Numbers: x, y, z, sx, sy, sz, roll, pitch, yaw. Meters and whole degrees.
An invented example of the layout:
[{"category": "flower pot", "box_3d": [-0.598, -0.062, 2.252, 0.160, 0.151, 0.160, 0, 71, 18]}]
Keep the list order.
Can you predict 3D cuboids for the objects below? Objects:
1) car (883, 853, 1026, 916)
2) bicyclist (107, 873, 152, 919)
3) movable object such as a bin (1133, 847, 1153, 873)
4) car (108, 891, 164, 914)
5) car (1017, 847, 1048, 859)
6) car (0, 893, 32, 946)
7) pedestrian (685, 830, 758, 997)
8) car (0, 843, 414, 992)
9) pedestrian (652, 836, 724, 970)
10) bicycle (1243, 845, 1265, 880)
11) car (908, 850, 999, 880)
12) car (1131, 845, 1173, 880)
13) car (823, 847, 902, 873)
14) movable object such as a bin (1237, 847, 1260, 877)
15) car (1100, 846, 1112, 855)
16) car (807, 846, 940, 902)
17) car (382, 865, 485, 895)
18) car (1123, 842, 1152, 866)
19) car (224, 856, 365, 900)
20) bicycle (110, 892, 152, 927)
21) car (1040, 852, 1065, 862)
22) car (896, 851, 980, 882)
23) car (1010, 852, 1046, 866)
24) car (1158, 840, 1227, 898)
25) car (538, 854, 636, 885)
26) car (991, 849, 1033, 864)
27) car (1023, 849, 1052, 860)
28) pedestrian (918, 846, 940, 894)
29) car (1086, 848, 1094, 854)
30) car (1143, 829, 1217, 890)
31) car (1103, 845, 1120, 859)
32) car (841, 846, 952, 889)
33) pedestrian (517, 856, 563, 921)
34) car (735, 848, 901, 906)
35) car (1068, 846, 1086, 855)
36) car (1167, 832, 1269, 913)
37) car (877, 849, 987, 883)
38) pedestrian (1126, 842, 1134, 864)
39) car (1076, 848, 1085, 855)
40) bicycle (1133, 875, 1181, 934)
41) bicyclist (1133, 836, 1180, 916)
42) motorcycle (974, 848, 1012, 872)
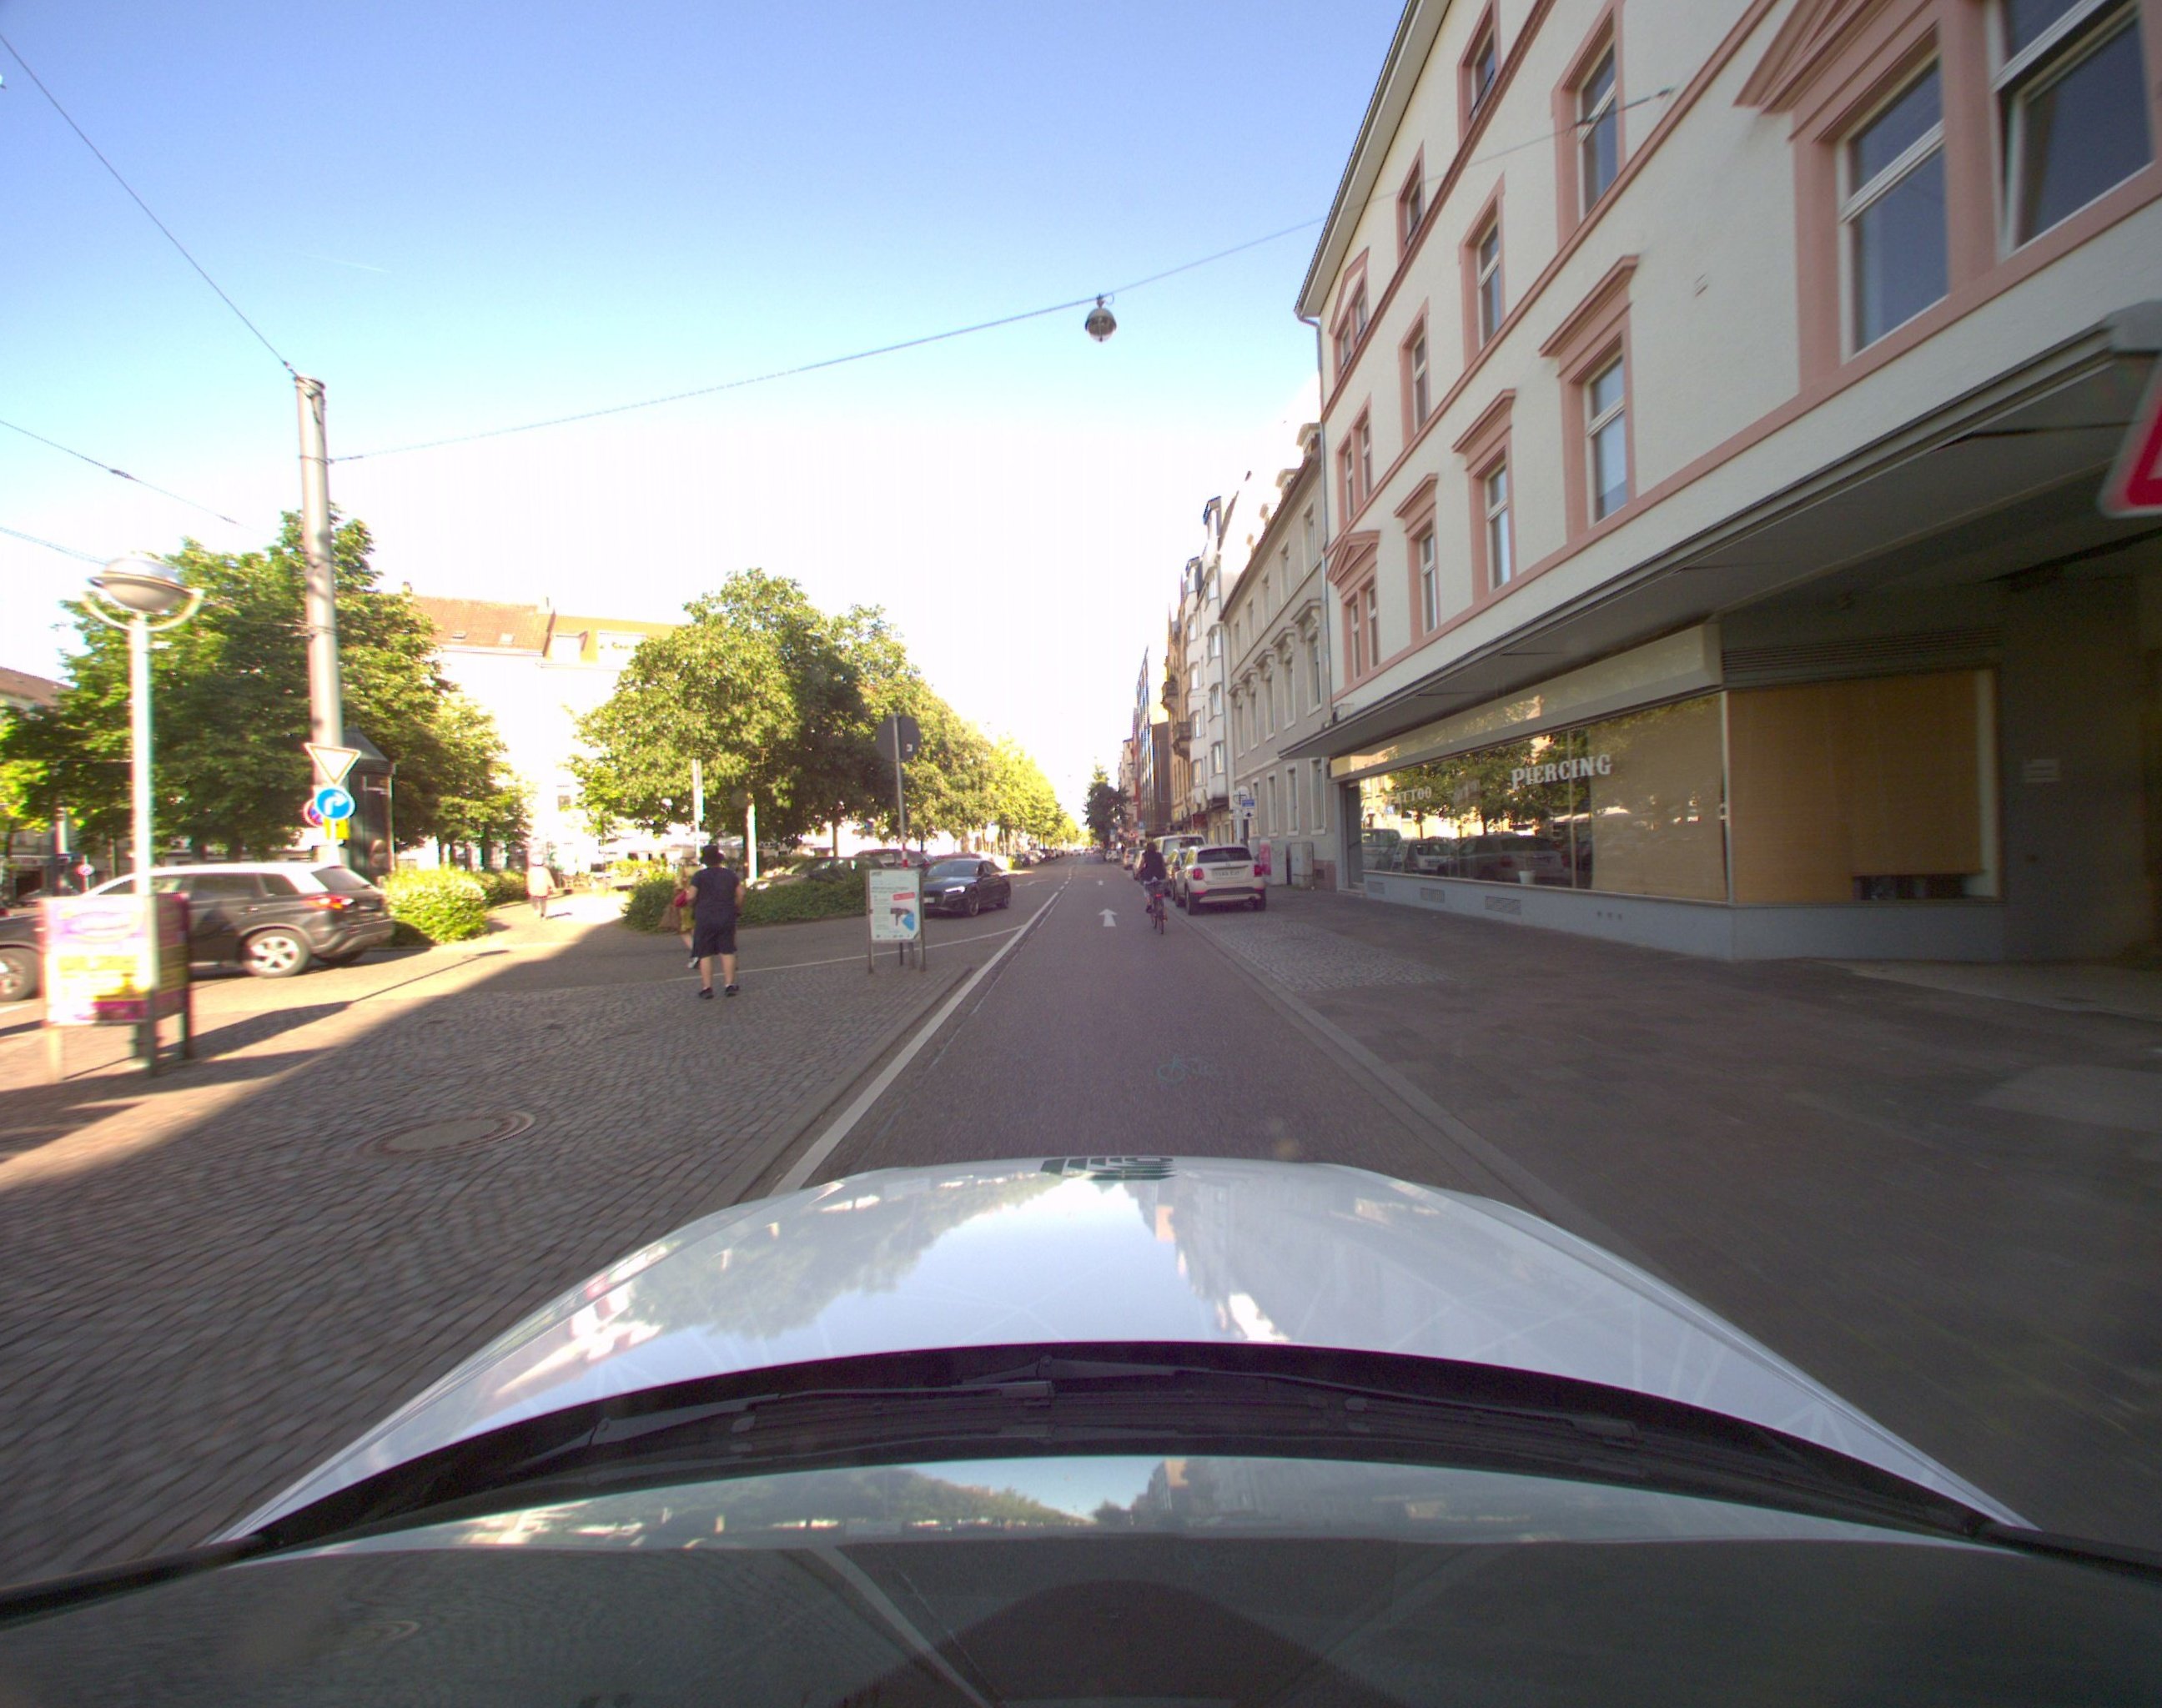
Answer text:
[{"category": "car", "box_3d": [-3.041, 0.709, 20.769, 1.898, 1.417, 4.828, -1, -1, 13]}, {"category": "bicyclist", "box_3d": [-32.009, 1.391, 27.412, 0.815, 1.507, 0.937, -1, -1, 43]}, {"category": "movable object such as a bin", "box_3d": [3.838, 0.366, 50.411, 1.068, 1.457, 1.495, -5, 1, 6]}, {"category": "car", "box_3d": [-88.400, 4.502, 76.247, 2.004, 1.783, 3.966, 0, 0, -26]}, {"category": "car", "box_3d": [-6.578, -0.120, 110.774, 3.972, 1.508, 1.895, -1, 0, 1]}, {"category": "car", "box_3d": [-32.410, 1.908, 23.853, 4.142, 1.423, 2.013, -1, -1, 37]}, {"category": "pedestrian", "box_3d": [-3.810, 0.595, 8.607, 0.640, 1.672, 0.686, 0, -1, -29]}, {"category": "car", "box_3d": [-12.005, 0.782, 11.258, 3.874, 1.682, 1.798, -2, 0, -23]}, {"category": "pedestrian", "box_3d": [-5.243, 0.626, 10.852, 0.673, 1.699, 0.795, 0, -1, -41]}, {"category": "bicycle", "box_3d": [6.207, 0.306, 29.134, 0.479, 1.186, 1.728, -4, -2, 19]}, {"category": "car", "box_3d": [-6.416, 0.531, 41.004, 4.245, 1.477, 1.720, 0, -1, -27]}, {"category": "car", "box_3d": [3.417, 0.429, 39.754, 1.713, 1.515, 3.582, -4, -1, 0]}, {"category": "car", "box_3d": [-15.845, 0.451, 59.070, 5.291, 1.800, 2.145, 0, -1, -26]}, {"category": "movable object such as a bin", "box_3d": [6.404, 0.307, 31.185, 0.765, 1.161, 0.579, -1, -1, 3]}, {"category": "car", "box_3d": [4.120, -0.639, 134.519, 1.987, 1.453, 4.000, -1, 0, 0]}, {"category": "car", "box_3d": [-6.688, 0.593, 26.370, 3.994, 1.668, 1.990, -1, 0, -16]}, {"category": "car", "box_3d": [-41.877, 1.655, 52.826, 4.875, 1.804, 1.895, 0, -1, -22]}, {"category": "car", "box_3d": [4.182, 0.012, 61.033, 1.892, 1.675, 4.825, -1, 0, 0]}, {"category": "car", "box_3d": [-44.319, 1.331, 46.052, 5.358, 2.314, 1.985, 0, -1, -23]}, {"category": "bicycle", "box_3d": [-31.962, 1.846, 27.426, 2.550, 1.069, 0.817, -1, -1, 43]}, {"category": "car", "box_3d": [-4.633, 0.454, 132.920, 3.969, 1.508, 2.002, 0, 0, 4]}, {"category": "car", "box_3d": [-7.550, 0.638, 43.177, 4.013, 1.586, 1.813, 0, -1, -31]}, {"category": "car", "box_3d": [-6.180, 0.573, 94.646, 3.972, 1.508, 2.001, -1, 0, 1]}, {"category": "car", "box_3d": [3.369, 0.441, 25.201, 1.693, 1.604, 3.758, -2, -1, 1]}, {"category": "car", "box_3d": [-33.792, 1.033, 55.938, 5.605, 2.014, 1.802, 0, -1, -26]}, {"category": "car", "box_3d": [-6.880, 0.246, 81.986, 3.972, 1.508, 2.001, -1, 0, 1]}, {"category": "car", "box_3d": [-6.199, 0.109, 115.394, 3.973, 1.508, 2.000, -1, 0, 0]}, {"category": "pedestrian", "box_3d": [-5.300, 0.540, 28.424, 0.698, 1.649, 0.645, -1, -1, -6]}, {"category": "car", "box_3d": [2.291, -0.716, 205.527, 1.863, 1.556, 4.001, -1, -1, 1]}, {"category": "car", "box_3d": [3.555, 0.152, 30.184, 1.987, 2.004, 5.116, -2, 1, -1]}, {"category": "car", "box_3d": [3.852, -0.217, 102.096, 1.985, 1.618, 4.013, 0, 0, 3]}, {"category": "car", "box_3d": [-7.205, 0.504, 32.051, 3.978, 1.598, 1.748, -1, -1, -3]}, {"category": "pedestrian", "box_3d": [-13.003, 0.812, 19.569, 0.774, 1.522, 0.947, 0, -1, -44]}, {"category": "car", "box_3d": [-7.241, 0.577, 22.519, 4.016, 1.470, 1.855, 0, -1, -34]}, {"category": "car", "box_3d": [-0.924, -0.906, 196.686, 3.962, 2.013, 2.006, -1, 0, 10]}, {"category": "car", "box_3d": [3.267, 0.421, 20.291, 1.739, 1.739, 4.960, -1, 0, 1]}, {"category": "car", "box_3d": [-6.976, 0.539, 38.052, 4.851, 1.488, 1.753, 0, -1, -20]}, {"category": "pedestrian", "box_3d": [3.919, -0.053, 65.800, 0.611, 1.735, 0.634, -1, -1, 2]}, {"category": "car", "box_3d": [-0.104, -0.496, 187.476, 1.986, 1.556, 4.001, -1, -1, 1]}, {"category": "bicycle", "box_3d": [1.400, 0.910, 15.377, 0.650, 0.958, 2.697, -1, -1, 0]}, {"category": "bicyclist", "box_3d": [1.411, 0.409, 15.411, 0.783, 1.453, 1.095, -1, -1, 0]}, {"category": "motorcycle", "box_3d": [-6.307, 0.450, 58.586, 2.451, 1.604, 1.004, -3, 0, 19]}]
